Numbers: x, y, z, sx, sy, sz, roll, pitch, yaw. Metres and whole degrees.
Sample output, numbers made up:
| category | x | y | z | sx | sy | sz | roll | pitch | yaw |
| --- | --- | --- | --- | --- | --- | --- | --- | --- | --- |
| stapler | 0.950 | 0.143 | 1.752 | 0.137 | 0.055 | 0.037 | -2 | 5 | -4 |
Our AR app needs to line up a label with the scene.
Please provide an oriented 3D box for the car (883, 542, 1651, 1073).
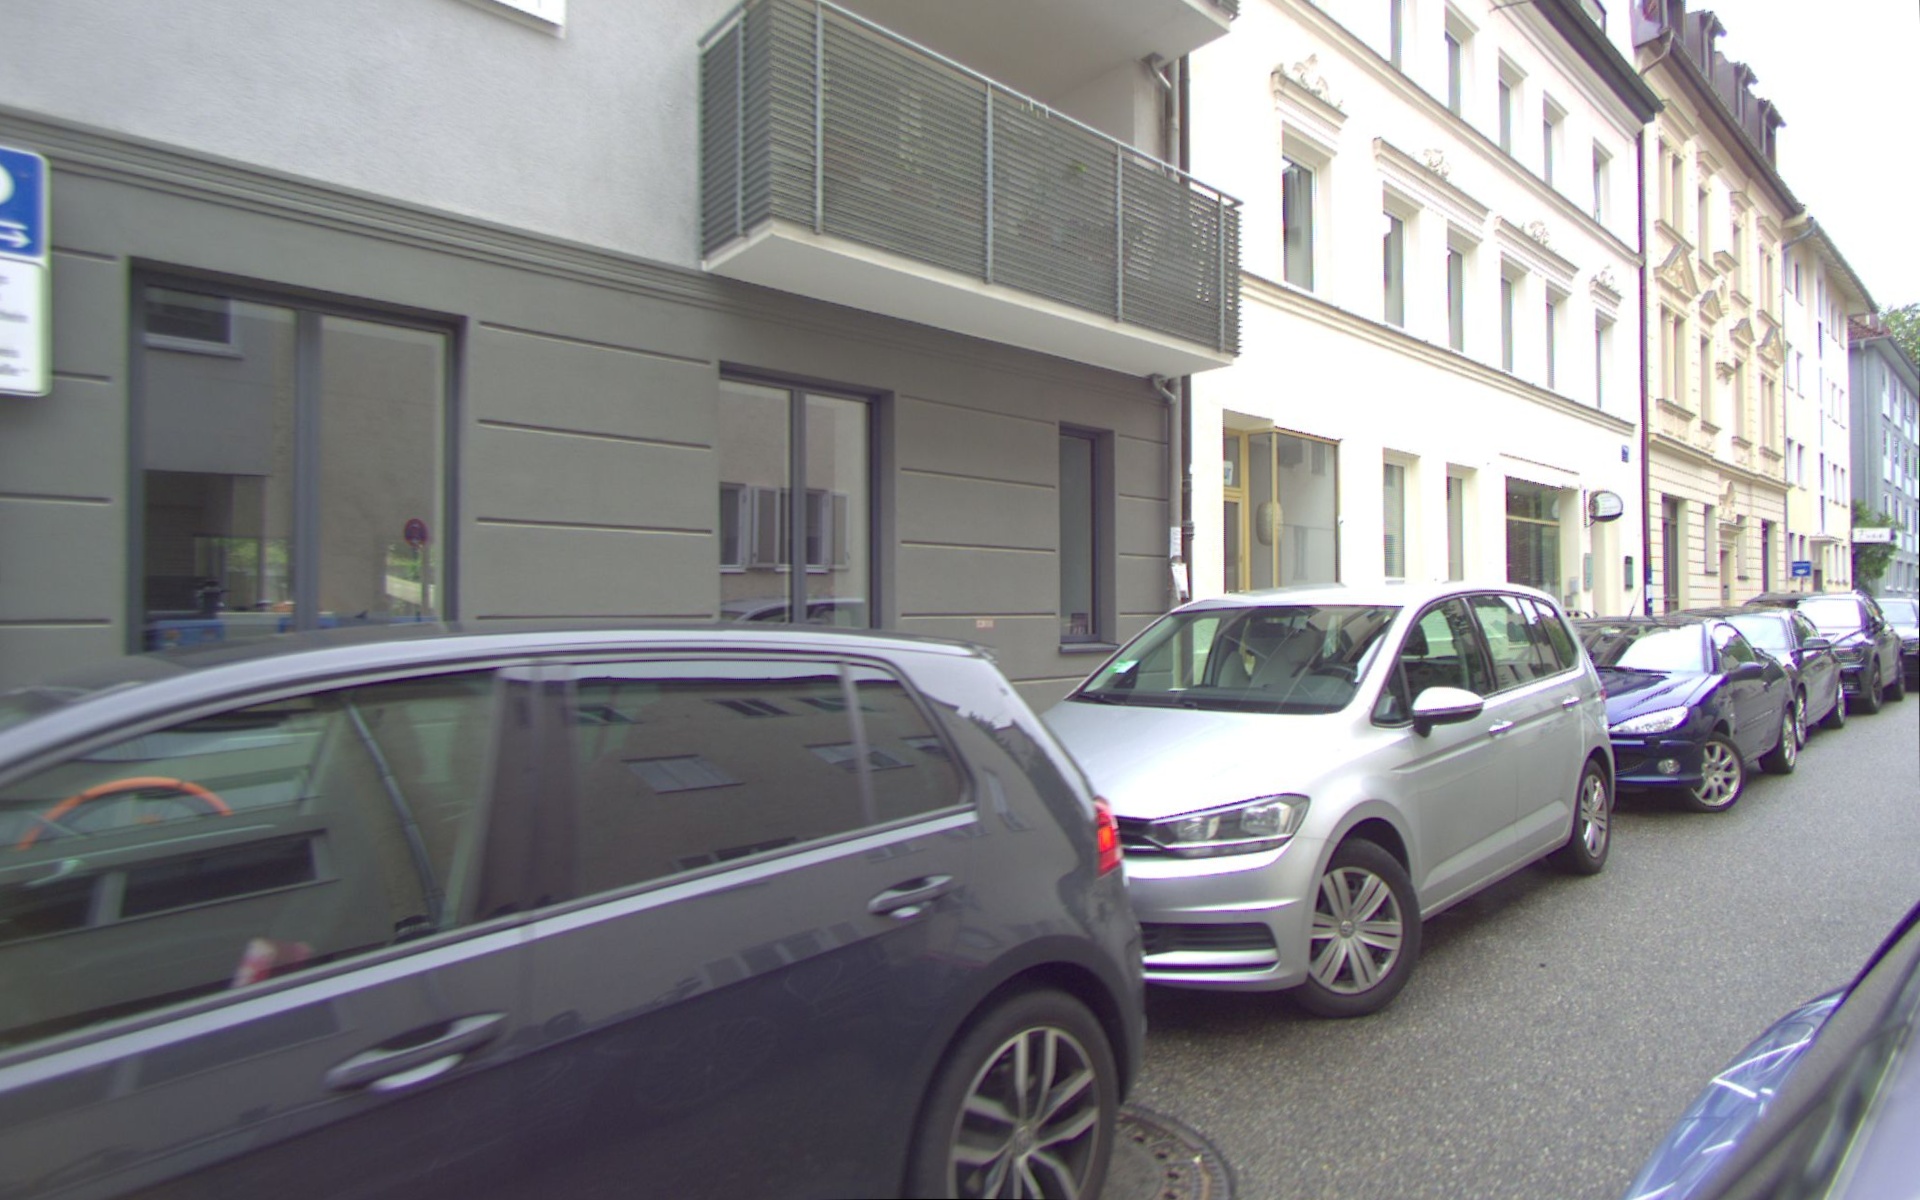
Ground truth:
| category | x | y | z | sx | sy | sz | roll | pitch | yaw |
| --- | --- | --- | --- | --- | --- | --- | --- | --- | --- |
| car | 1.851 | 0.593 | 5.169 | 4.243 | 1.590 | 1.878 | 0 | 1 | -43 |

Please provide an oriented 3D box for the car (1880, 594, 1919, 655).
| category | x | y | z | sx | sy | sz | roll | pitch | yaw |
| --- | --- | --- | --- | --- | --- | --- | --- | --- | --- |
| car | 25.310 | 0.607 | 26.266 | 3.786 | 1.511 | 1.678 | 0 | -1 | -41 |

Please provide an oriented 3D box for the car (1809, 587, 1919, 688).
| category | x | y | z | sx | sy | sz | roll | pitch | yaw |
| --- | --- | --- | --- | --- | --- | --- | --- | --- | --- |
| car | 16.829 | 0.603 | 18.202 | 4.603 | 1.627 | 1.704 | 0 | -1 | -41 |

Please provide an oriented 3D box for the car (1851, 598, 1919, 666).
| category | x | y | z | sx | sy | sz | roll | pitch | yaw |
| --- | --- | --- | --- | --- | --- | --- | --- | --- | --- |
| car | 21.208 | 0.659 | 22.427 | 3.995 | 1.411 | 1.678 | 0 | -1 | -41 |

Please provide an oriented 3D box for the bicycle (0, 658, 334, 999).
| category | x | y | z | sx | sy | sz | roll | pitch | yaw |
| --- | --- | --- | --- | --- | --- | --- | --- | --- | --- |
| bicycle | -3.477 | 0.818 | 3.704 | 1.961 | 1.105 | 0.570 | 0 | 0 | -40 |

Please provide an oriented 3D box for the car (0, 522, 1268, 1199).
| category | x | y | z | sx | sy | sz | roll | pitch | yaw |
| --- | --- | --- | --- | --- | --- | --- | --- | --- | --- |
| car | -1.370 | 0.704 | 1.934 | 4.219 | 1.548 | 1.842 | 0 | -1 | -42 |

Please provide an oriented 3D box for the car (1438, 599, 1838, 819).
| category | x | y | z | sx | sy | sz | roll | pitch | yaw |
| --- | --- | --- | --- | --- | --- | --- | --- | --- | --- |
| car | 5.774 | 0.698 | 8.455 | 3.876 | 1.380 | 1.811 | 0 | 0 | -40 |

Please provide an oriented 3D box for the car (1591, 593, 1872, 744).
| category | x | y | z | sx | sy | sz | roll | pitch | yaw |
| --- | --- | --- | --- | --- | --- | --- | --- | --- | --- |
| car | 8.950 | 0.630 | 11.603 | 4.274 | 1.403 | 1.802 | 0 | 0 | -42 |

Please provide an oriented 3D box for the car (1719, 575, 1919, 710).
| category | x | y | z | sx | sy | sz | roll | pitch | yaw |
| --- | --- | --- | --- | --- | --- | --- | --- | --- | --- |
| car | 12.660 | 0.530 | 14.743 | 4.434 | 1.682 | 1.678 | 0 | -1 | -41 |
